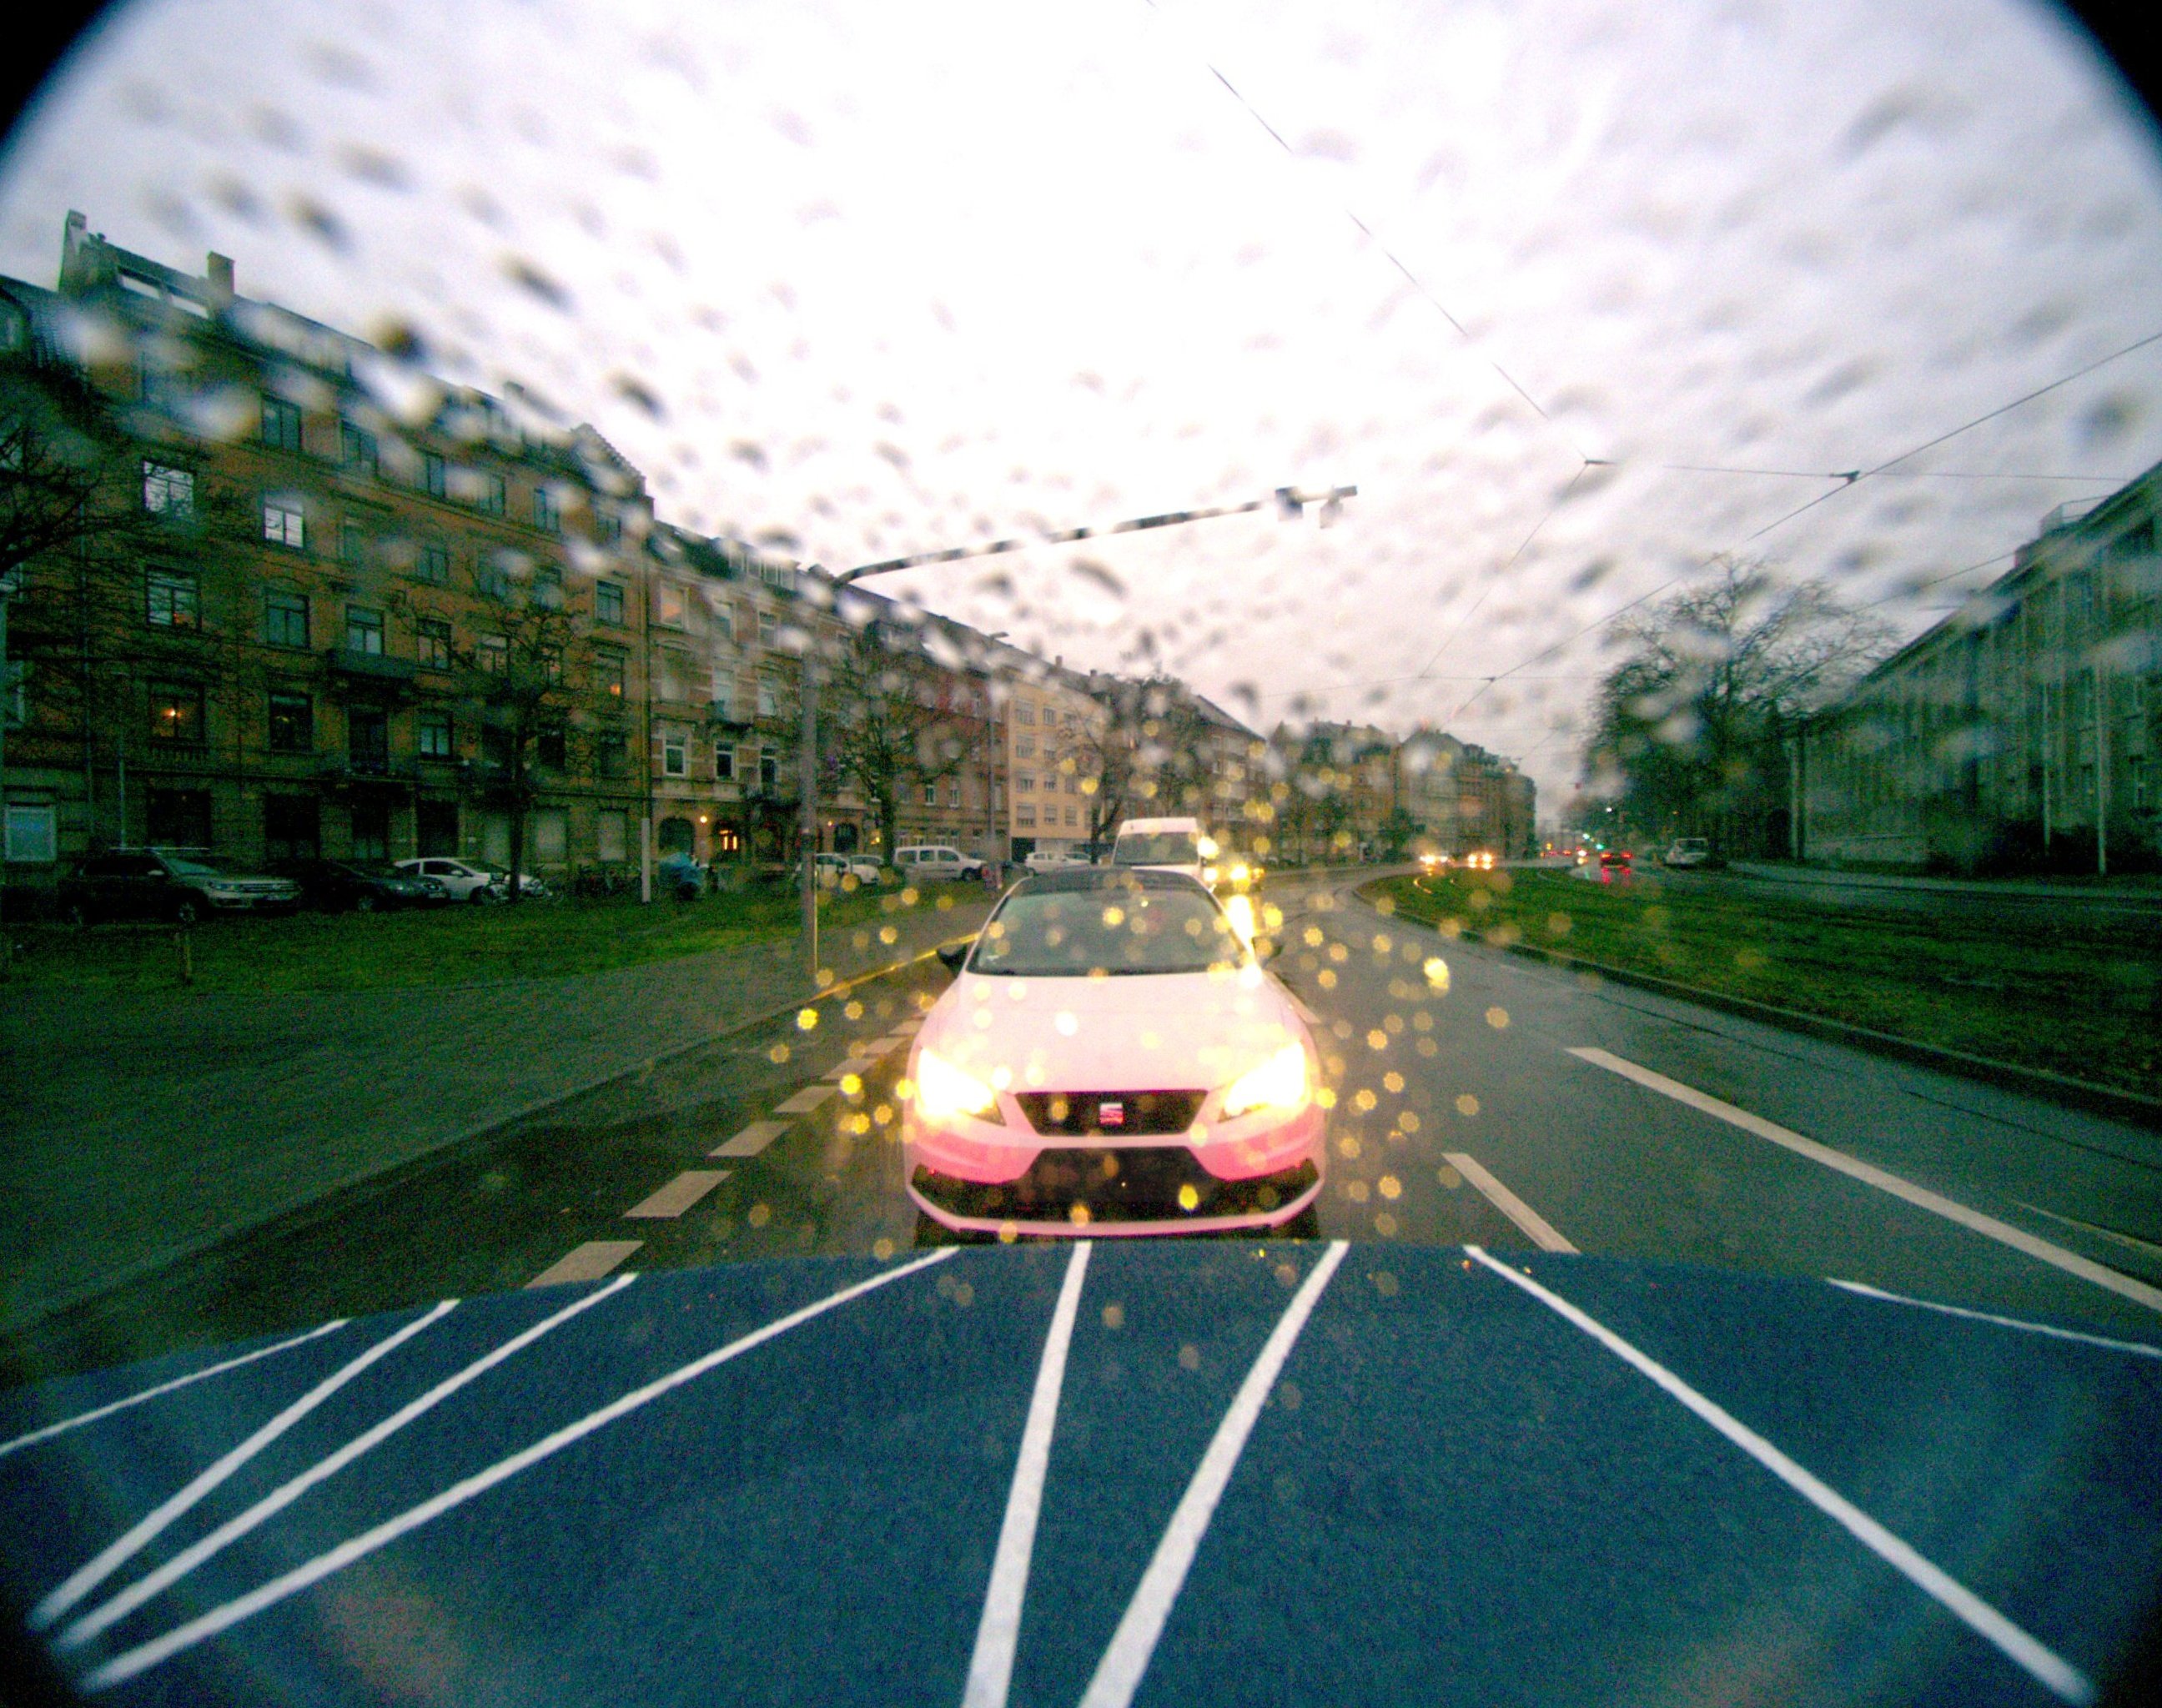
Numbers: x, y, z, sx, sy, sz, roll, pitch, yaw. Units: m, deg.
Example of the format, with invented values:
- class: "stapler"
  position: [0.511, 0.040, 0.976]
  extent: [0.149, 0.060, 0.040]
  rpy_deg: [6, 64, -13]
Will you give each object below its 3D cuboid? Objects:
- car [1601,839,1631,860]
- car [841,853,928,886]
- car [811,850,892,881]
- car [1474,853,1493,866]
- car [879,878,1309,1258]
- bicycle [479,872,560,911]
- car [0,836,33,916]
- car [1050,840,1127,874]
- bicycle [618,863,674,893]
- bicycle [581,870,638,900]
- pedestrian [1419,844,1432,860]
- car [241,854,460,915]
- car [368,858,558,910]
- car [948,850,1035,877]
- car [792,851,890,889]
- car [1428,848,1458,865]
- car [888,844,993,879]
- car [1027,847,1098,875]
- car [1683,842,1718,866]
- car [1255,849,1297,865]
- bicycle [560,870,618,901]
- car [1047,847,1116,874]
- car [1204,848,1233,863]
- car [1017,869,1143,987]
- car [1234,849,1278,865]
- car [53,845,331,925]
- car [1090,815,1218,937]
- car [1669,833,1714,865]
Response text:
- class: "car"
  position: [40.363, -0.336, 57.375]
  extent: [1.658, 1.392, 4.531]
  rpy_deg: [-3, 0, 34]
- class: "car"
  position: [-8.803, 0.679, 34.179]
  extent: [3.430, 1.343, 1.664]
  rpy_deg: [-2, 0, 2]
- class: "car"
  position: [-12.607, 0.608, 41.993]
  extent: [1.733, 1.492, 4.058]
  rpy_deg: [-3, -1, 32]
- class: "car"
  position: [44.743, 0.605, 84.512]
  extent: [1.836, 1.477, 3.528]
  rpy_deg: [-1, 0, 28]
- class: "car"
  position: [0.171, 0.961, 4.983]
  extent: [1.714, 1.404, 3.680]
  rpy_deg: [-3, 0, 4]
- class: "bicycle"
  position: [-14.424, 0.941, 19.570]
  extent: [1.655, 0.931, 0.513]
  rpy_deg: [0, 0, -35]
- class: "car"
  position: [-29.123, 0.571, 17.951]
  extent: [1.994, 2.002, 4.997]
  rpy_deg: [1, 1, 33]
- class: "car"
  position: [0.452, 0.182, 48.497]
  extent: [4.720, 1.971, 1.799]
  rpy_deg: [-2, 0, -2]
- class: "bicycle"
  position: [-15.076, 0.813, 26.305]
  extent: [2.165, 0.960, 0.627]
  rpy_deg: [0, 1, 28]
- class: "bicycle"
  position: [-15.831, 1.052, 25.515]
  extent: [2.165, 0.960, 0.627]
  rpy_deg: [-2, -2, 28]
- class: "pedestrian"
  position: [38.080, -0.206, 83.991]
  extent: [0.932, 1.758, 0.957]
  rpy_deg: [-1, 1, -2]
- class: "car"
  position: [-18.055, 0.736, 18.911]
  extent: [3.742, 1.346, 1.677]
  rpy_deg: [-2, -1, -2]
- class: "car"
  position: [-17.128, 0.796, 21.198]
  extent: [3.856, 1.329, 1.698]
  rpy_deg: [-1, 0, -1]
- class: "car"
  position: [-4.511, 0.480, 38.686]
  extent: [4.058, 1.227, 1.771]
  rpy_deg: [1, 0, 6]
- class: "car"
  position: [-9.986, 0.650, 31.710]
  extent: [3.462, 1.435, 1.615]
  rpy_deg: [-2, 0, 6]
- class: "car"
  position: [30.656, 0.195, 64.251]
  extent: [1.892, 1.405, 3.954]
  rpy_deg: [-1, 0, 31]
- class: "car"
  position: [-6.711, 0.329, 36.527]
  extent: [4.659, 1.583, 1.778]
  rpy_deg: [1, 1, 3]
- class: "car"
  position: [-1.021, 0.395, 43.713]
  extent: [3.770, 1.424, 1.762]
  rpy_deg: [-3, 0, 9]
- class: "car"
  position: [39.378, -0.021, 48.361]
  extent: [1.557, 1.420, 2.960]
  rpy_deg: [-1, 1, 36]
- class: "car"
  position: [18.523, 0.308, 72.287]
  extent: [3.760, 1.346, 1.603]
  rpy_deg: [-3, 0, 11]
- class: "bicycle"
  position: [-16.160, 1.044, 24.952]
  extent: [2.165, 0.960, 0.627]
  rpy_deg: [-2, -2, 28]
- class: "car"
  position: [0.015, 0.399, 45.803]
  extent: [3.998, 1.406, 1.641]
  rpy_deg: [-3, 0, -2]
- class: "car"
  position: [14.562, 0.110, 80.360]
  extent: [1.470, 1.534, 3.880]
  rpy_deg: [0, 1, 38]
- class: "car"
  position: [0.091, 0.972, 11.202]
  extent: [1.589, 1.418, 3.135]
  rpy_deg: [-1, 0, 4]
- class: "car"
  position: [15.911, 0.269, 69.265]
  extent: [3.760, 1.346, 1.603]
  rpy_deg: [-3, 0, 11]
- class: "car"
  position: [-19.500, 0.631, 16.801]
  extent: [3.996, 1.627, 1.944]
  rpy_deg: [0, 1, 4]
- class: "car"
  position: [1.912, 0.445, 17.744]
  extent: [2.127, 2.366, 5.644]
  rpy_deg: [-2, 0, 14]
- class: "car"
  position: [41.910, -0.343, 52.210]
  extent: [1.995, 2.002, 4.518]
  rpy_deg: [-3, 0, 35]
